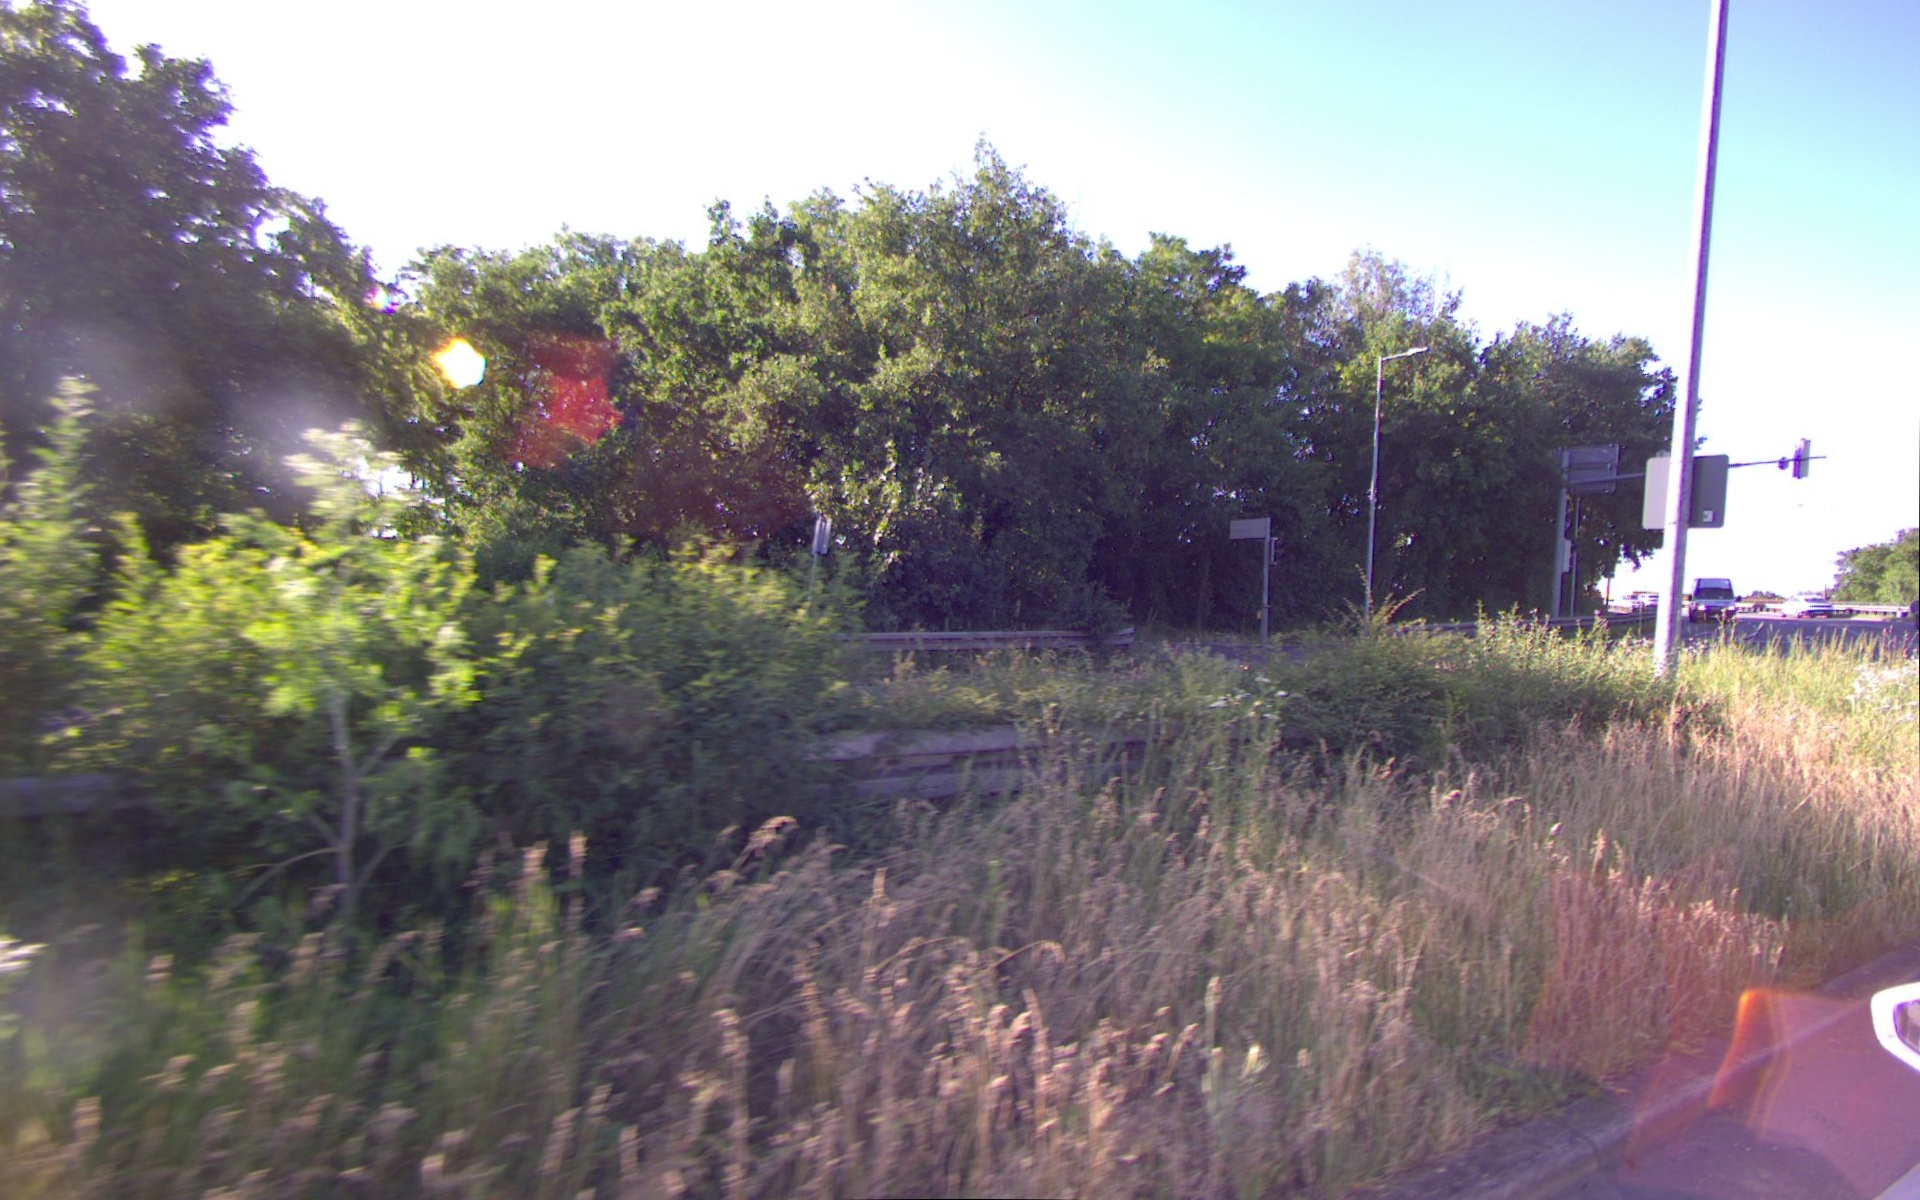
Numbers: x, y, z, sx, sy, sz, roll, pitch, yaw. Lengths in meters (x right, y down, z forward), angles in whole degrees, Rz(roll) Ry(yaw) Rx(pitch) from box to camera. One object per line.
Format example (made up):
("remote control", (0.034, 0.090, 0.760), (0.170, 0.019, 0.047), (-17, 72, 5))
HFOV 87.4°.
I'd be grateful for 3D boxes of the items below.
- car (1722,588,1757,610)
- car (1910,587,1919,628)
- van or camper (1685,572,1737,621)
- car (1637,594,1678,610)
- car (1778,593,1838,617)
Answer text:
("car", (66.315, -0.089, 85.513), (1.941, 1.721, 3.989), (2, 2, 33))
("car", (44.815, 0.395, 45.151), (1.964, 1.905, 4.242), (2, 2, 29))
("van or camper", (44.064, -0.221, 59.024), (2.021, 2.709, 6.912), (1, 1, 34))
("car", (71.188, 0.170, 102.579), (2.228, 1.528, 4.000), (3, 1, 18))
("car", (57.187, 0.298, 67.795), (1.937, 1.494, 4.151), (2, 2, 24))
